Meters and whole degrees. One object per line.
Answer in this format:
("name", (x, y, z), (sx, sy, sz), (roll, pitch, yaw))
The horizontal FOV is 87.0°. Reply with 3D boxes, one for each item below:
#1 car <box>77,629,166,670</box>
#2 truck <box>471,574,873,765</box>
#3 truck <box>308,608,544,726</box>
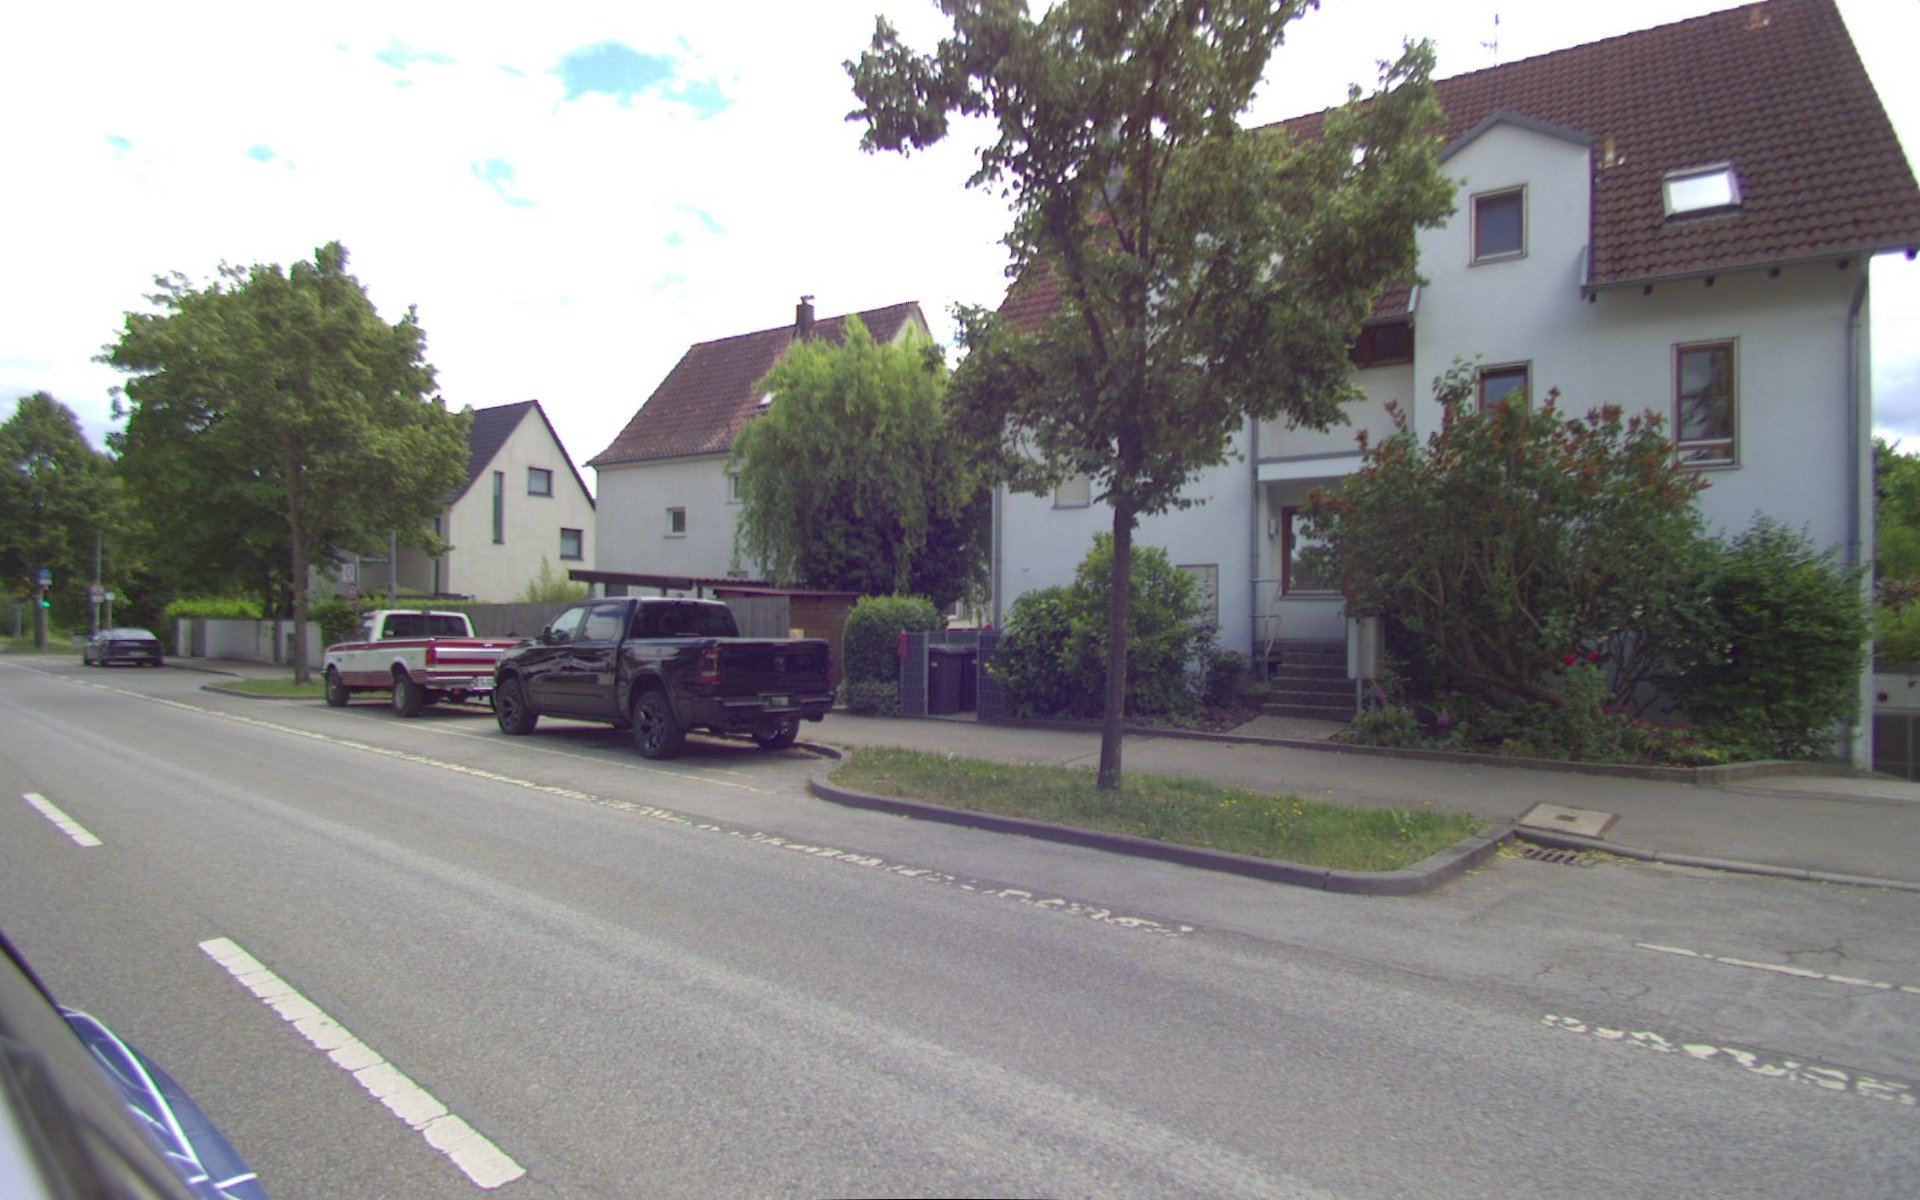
("car", (-31.205, 1.812, 37.621), (4.924, 1.419, 1.727), (-1, -4, 41))
("truck", (-4.132, 0.829, 13.815), (5.991, 2.059, 2.398), (-1, -2, 41))
("truck", (-9.987, 1.161, 18.689), (5.662, 1.882, 1.946), (-1, -4, 42))
